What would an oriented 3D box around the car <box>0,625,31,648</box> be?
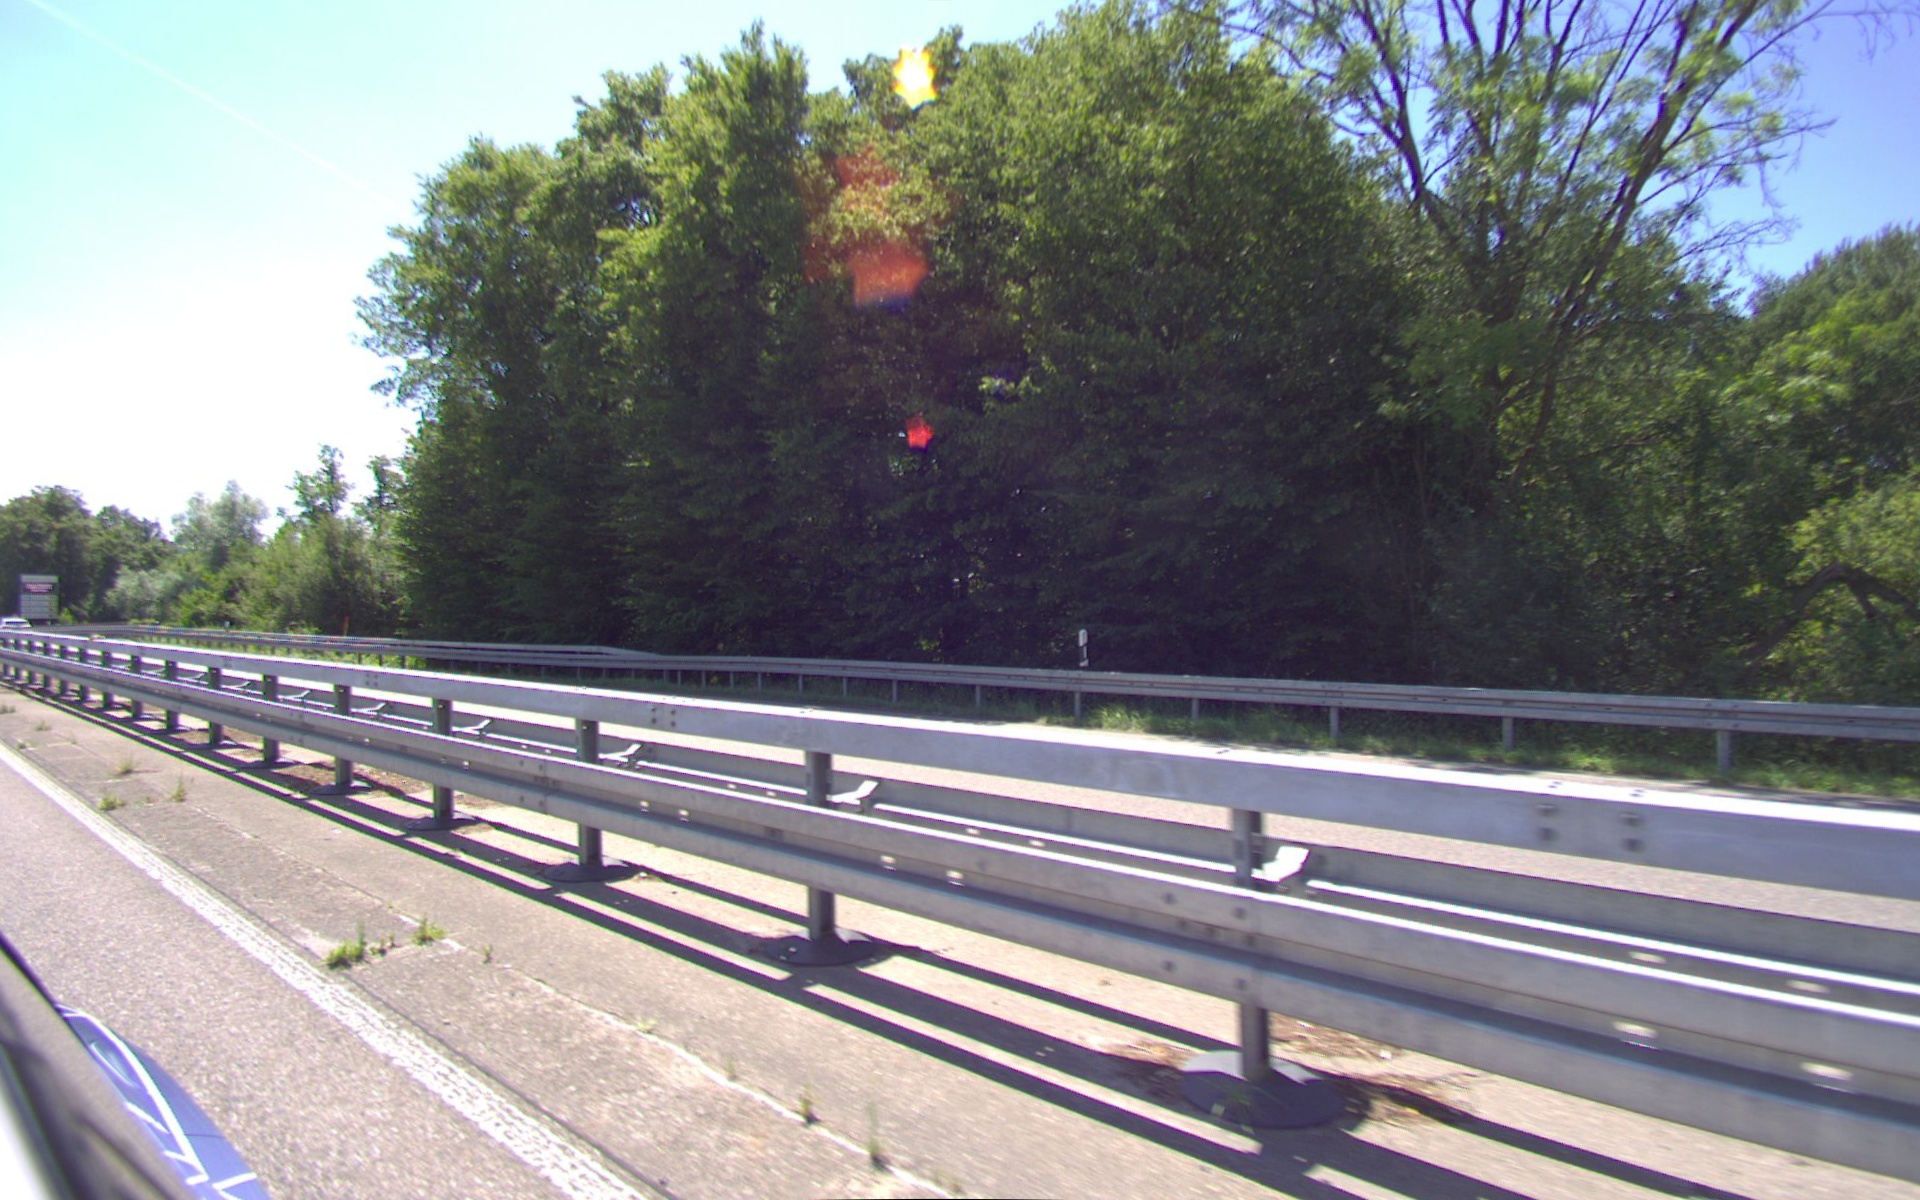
[{"bbox_3d":[-68.060,2.599,72.372,4.838,1.611,1.799,-1,-3,41],"label":"car"}]
